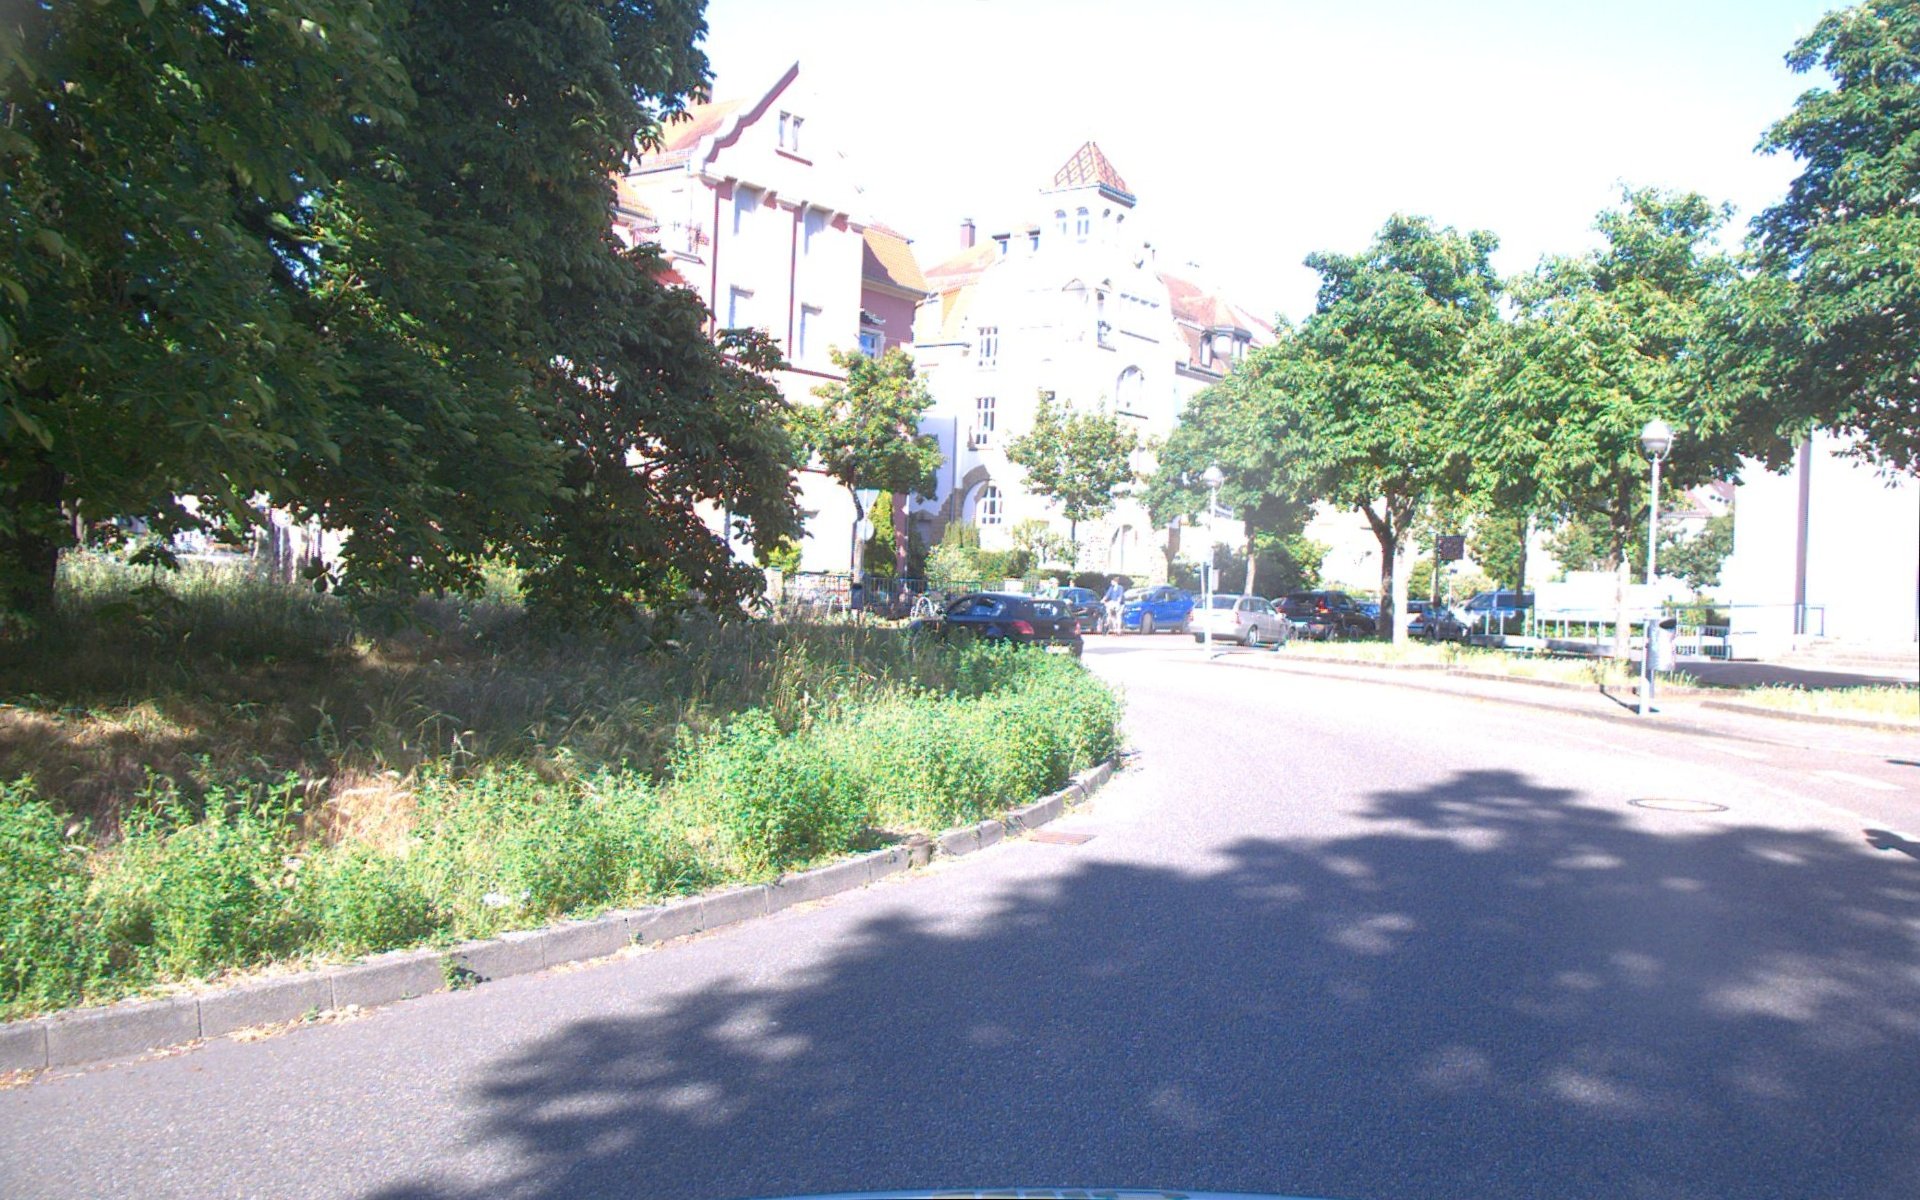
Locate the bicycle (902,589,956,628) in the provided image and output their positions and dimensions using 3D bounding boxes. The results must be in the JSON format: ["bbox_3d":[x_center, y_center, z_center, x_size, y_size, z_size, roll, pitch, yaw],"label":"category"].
[{"bbox_3d":[-0.998,0.259,52.523,1.694,1.134,0.543,4,2,38],"label":"bicycle"}]

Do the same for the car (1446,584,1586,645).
[{"bbox_3d":[21.069,0.539,62.771,4.680,2.036,1.805,3,1,33],"label":"car"}]

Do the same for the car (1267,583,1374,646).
[{"bbox_3d":[11.020,0.452,50.325,1.772,1.758,4.327,3,1,32],"label":"car"}]

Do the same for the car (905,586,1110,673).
[{"bbox_3d":[0.797,0.491,30.277,1.847,1.444,3.955,1,0,-33],"label":"car"}]

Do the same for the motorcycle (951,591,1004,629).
[{"bbox_3d":[0.567,0.335,54.426,1.690,1.126,0.500,4,2,31],"label":"motorcycle"}]

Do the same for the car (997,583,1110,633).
[{"bbox_3d":[3.035,0.265,52.779,1.771,1.509,4.328,-1,-1,31],"label":"car"}]

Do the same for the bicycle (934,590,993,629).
[{"bbox_3d":[0.110,0.304,53.822,1.787,1.126,0.501,4,2,22],"label":"bicycle"}]

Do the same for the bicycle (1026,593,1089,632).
[{"bbox_3d":[2.907,0.384,49.370,1.837,1.127,0.590,1,0,-29],"label":"bicycle"}]

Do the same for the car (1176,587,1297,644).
[{"bbox_3d":[7.820,0.428,46.465,1.772,1.440,4.327,3,1,32],"label":"car"}]

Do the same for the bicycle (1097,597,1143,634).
[{"bbox_3d":[4.984,0.487,51.449,0.633,1.127,1.710,1,0,36],"label":"bicycle"}]

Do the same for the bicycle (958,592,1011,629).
[{"bbox_3d":[0.814,0.336,55.082,1.690,1.126,0.500,4,2,31],"label":"bicycle"}]

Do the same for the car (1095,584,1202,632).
[{"bbox_3d":[6.561,0.293,57.317,1.774,1.589,4.382,-1,-1,36],"label":"car"}]

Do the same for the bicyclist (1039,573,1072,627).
[{"bbox_3d":[2.847,-0.003,49.443,0.791,1.609,0.592,1,0,-23],"label":"bicyclist"}]

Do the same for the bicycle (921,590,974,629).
[{"bbox_3d":[-0.416,0.290,53.257,1.694,1.134,0.543,4,2,38],"label":"bicycle"}]

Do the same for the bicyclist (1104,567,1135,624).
[{"bbox_3d":[4.963,-0.132,51.399,0.633,1.744,0.720,1,0,36],"label":"bicyclist"}]

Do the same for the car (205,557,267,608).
[{"bbox_3d":[-22.875,-0.576,52.210,1.661,1.472,3.519,3,0,-25],"label":"car"}]

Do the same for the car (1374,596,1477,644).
[{"bbox_3d":[16.022,0.698,56.839,1.776,1.499,4.316,3,1,40],"label":"car"}]

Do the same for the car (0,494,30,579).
[{"bbox_3d":[-33.451,-2.188,53.391,6.222,2.645,2.105,3,0,16],"label":"car"}]
